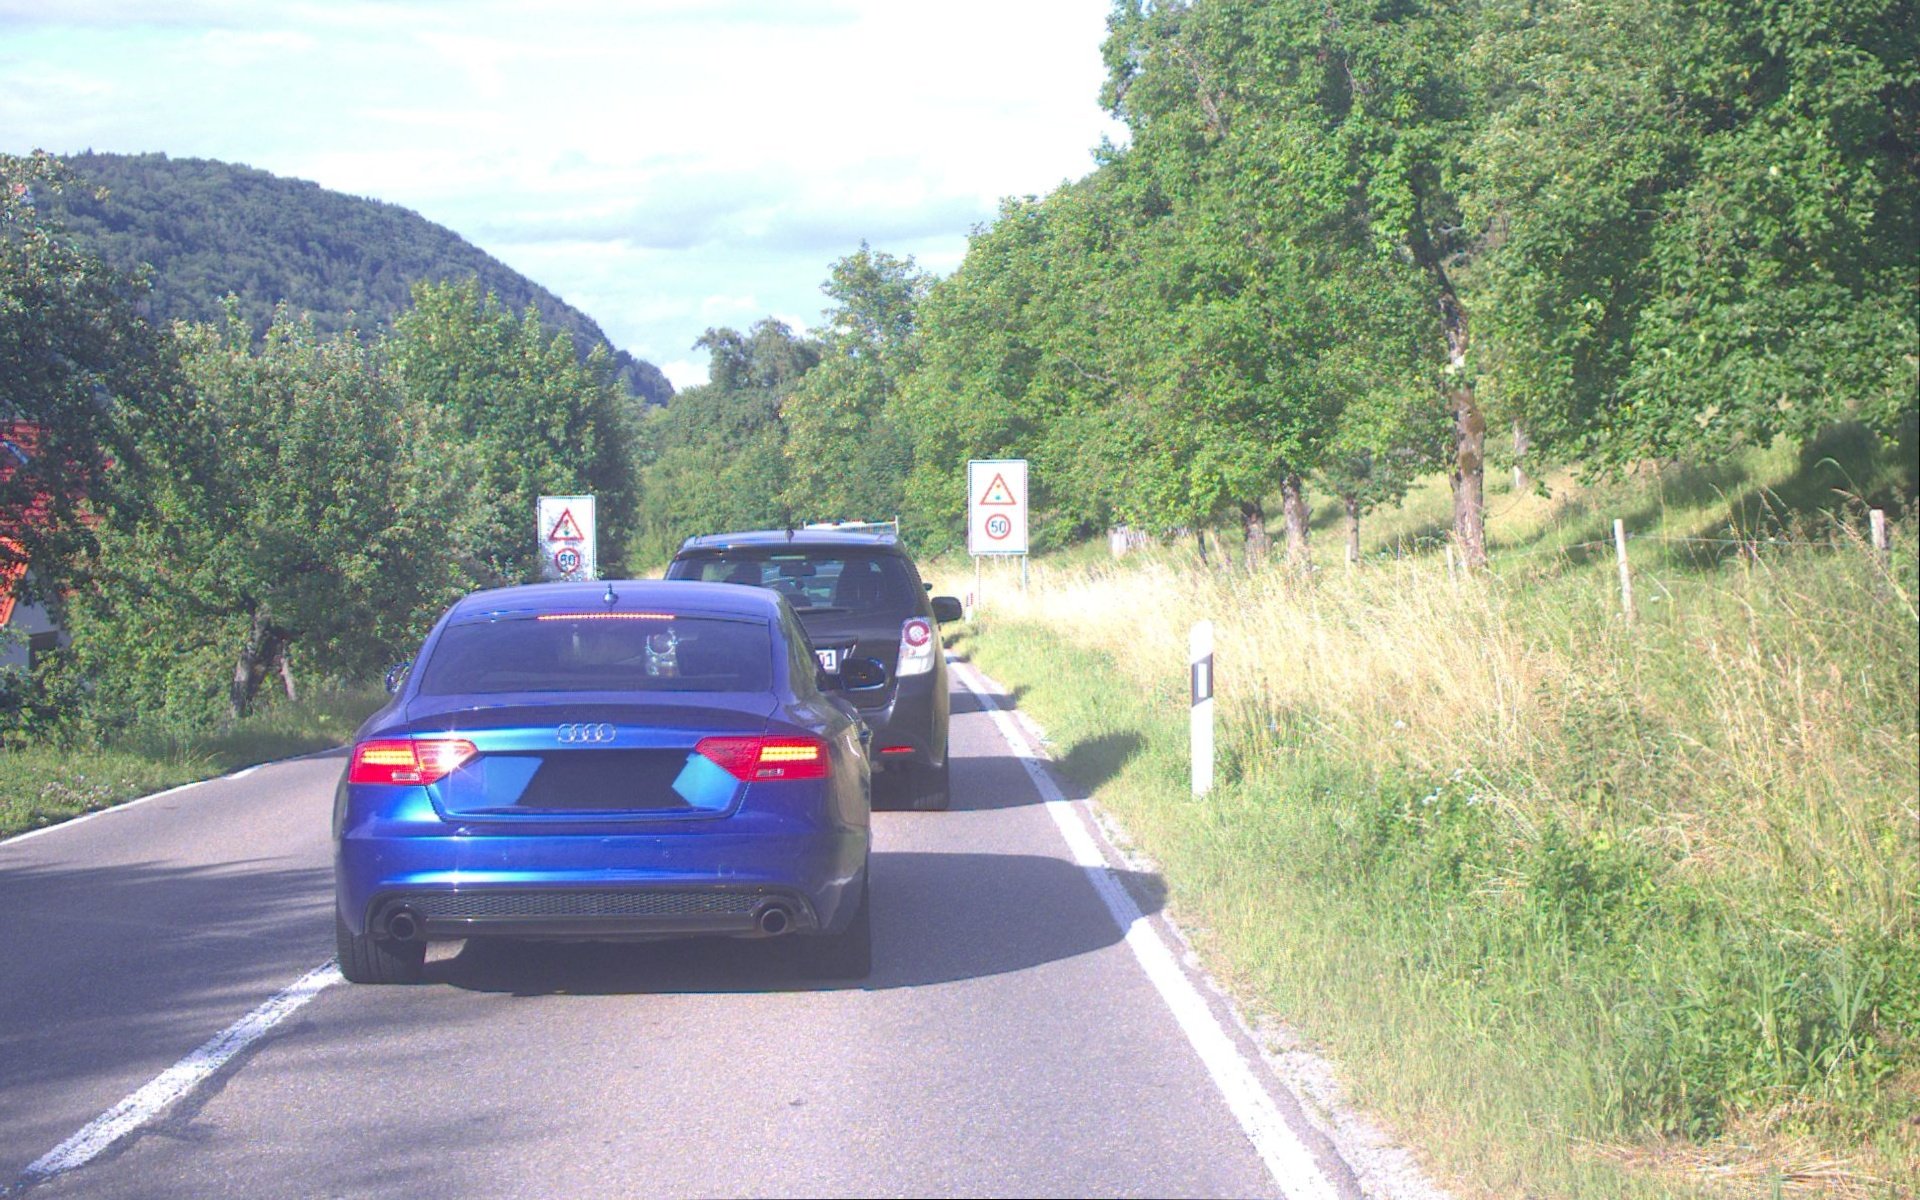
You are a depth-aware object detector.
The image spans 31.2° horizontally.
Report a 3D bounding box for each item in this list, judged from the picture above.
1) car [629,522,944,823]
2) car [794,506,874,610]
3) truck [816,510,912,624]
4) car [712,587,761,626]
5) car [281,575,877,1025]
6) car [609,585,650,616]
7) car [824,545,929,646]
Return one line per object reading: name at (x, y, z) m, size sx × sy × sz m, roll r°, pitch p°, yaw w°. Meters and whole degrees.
car at (-0.987, 0.360, 20.524) m, size 1.692 × 1.618 × 3.789 m, roll 0°, pitch 1°, yaw -2°
car at (-3.109, -1.026, 84.124) m, size 1.792 × 2.445 × 3.920 m, roll 1°, pitch 1°, yaw -4°
truck at (-2.088, -0.712, 73.901) m, size 1.950 × 2.337 × 5.094 m, roll 1°, pitch 1°, yaw -2°
car at (-8.897, 0.248, 136.561) m, size 1.558 × 1.490 × 3.779 m, roll 1°, pitch 1°, yaw -10°
car at (-1.235, 0.610, 12.797) m, size 1.805 × 1.377 × 4.215 m, roll -1°, pitch 0°, yaw -1°
car at (-16.734, 0.031, 174.058) m, size 1.558 × 1.490 × 3.779 m, roll 1°, pitch 1°, yaw -14°
car at (-1.412, -0.105, 57.954) m, size 1.692 × 1.618 × 3.789 m, roll 0°, pitch 1°, yaw -2°
